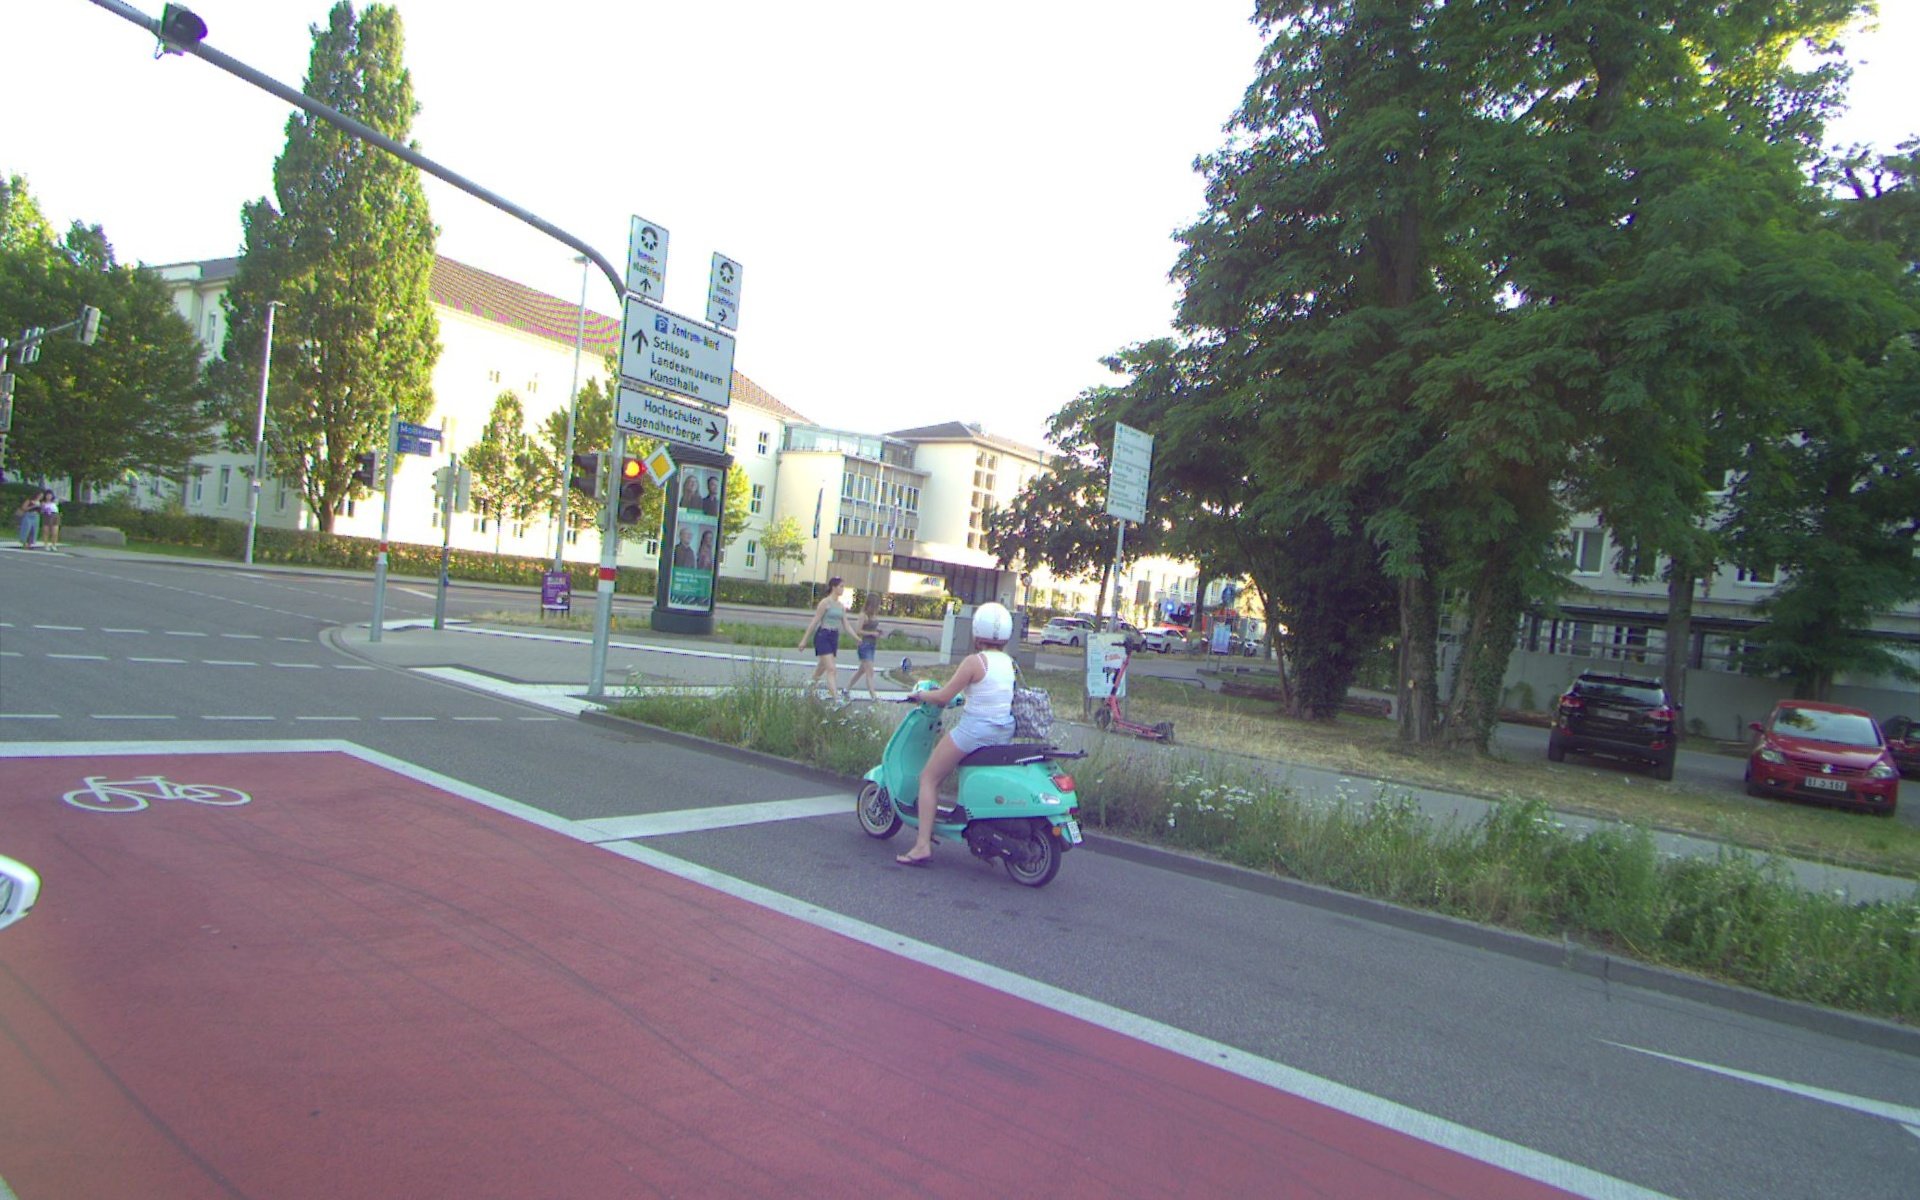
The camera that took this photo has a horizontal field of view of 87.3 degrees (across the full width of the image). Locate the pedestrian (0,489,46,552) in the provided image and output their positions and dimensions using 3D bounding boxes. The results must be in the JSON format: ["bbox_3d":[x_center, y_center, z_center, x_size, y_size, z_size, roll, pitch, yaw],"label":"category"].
[{"bbox_3d":[-26.568,-2.251,28.505,0.831,1.643,0.681,8,2,32],"label":"pedestrian"}]

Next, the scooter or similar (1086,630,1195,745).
[{"bbox_3d":[2.280,1.086,12.751,1.159,1.288,0.440,7,1,31],"label":"scooter or similar"}]

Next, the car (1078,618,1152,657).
[{"bbox_3d":[7.941,1.923,51.321,1.970,1.632,3.985,7,0,37],"label":"car"}]

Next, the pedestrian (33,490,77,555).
[{"bbox_3d":[-26.181,-2.241,29.102,0.677,1.776,0.681,8,2,31],"label":"pedestrian"}]

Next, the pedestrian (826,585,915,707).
[{"bbox_3d":[-1.222,0.626,13.765,0.776,1.542,0.735,7,1,31],"label":"pedestrian"}]

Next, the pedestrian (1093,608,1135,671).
[{"bbox_3d":[4.551,1.180,29.771,0.694,1.761,0.892,7,1,40],"label":"pedestrian"}]

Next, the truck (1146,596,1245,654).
[{"bbox_3d":[15.930,1.778,67.367,2.599,3.179,10.243,6,0,35],"label":"truck"}]

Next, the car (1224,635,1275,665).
[{"bbox_3d":[19.661,3.407,68.205,1.969,1.660,3.987,7,0,35],"label":"car"}]

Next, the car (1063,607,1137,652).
[{"bbox_3d":[7.738,1.650,55.277,2.024,1.884,4.486,7,-2,35],"label":"car"}]

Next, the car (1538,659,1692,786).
[{"bbox_3d":[11.773,2.092,17.953,1.890,1.762,4.223,7,0,37],"label":"car"}]

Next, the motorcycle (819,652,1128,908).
[{"bbox_3d":[0.035,1.067,6.496,1.866,1.212,0.681,7,0,40],"label":"motorcycle"}]

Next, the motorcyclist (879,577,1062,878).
[{"bbox_3d":[0.074,0.789,6.493,0.680,1.758,0.737,7,1,40],"label":"motorcyclist"}]

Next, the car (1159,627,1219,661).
[{"bbox_3d":[13.691,2.651,59.992,1.969,1.660,3.987,7,0,35],"label":"car"}]

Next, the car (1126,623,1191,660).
[{"bbox_3d":[10.931,2.311,55.232,1.969,1.660,3.987,7,0,35],"label":"car"}]

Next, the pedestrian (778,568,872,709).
[{"bbox_3d":[-1.723,0.493,12.871,0.763,1.681,0.720,7,1,31],"label":"pedestrian"}]

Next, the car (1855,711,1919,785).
[{"bbox_3d":[23.000,3.585,24.042,1.742,1.477,3.618,7,0,33],"label":"car"}]

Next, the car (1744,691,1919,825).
[{"bbox_3d":[14.054,2.422,16.375,1.890,1.631,3.984,7,0,38],"label":"car"}]

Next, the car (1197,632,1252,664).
[{"bbox_3d":[16.738,3.035,63.527,1.969,1.660,3.987,7,0,35],"label":"car"}]

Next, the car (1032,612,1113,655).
[{"bbox_3d":[5.373,1.606,47.675,1.872,1.660,3.983,7,0,38],"label":"car"}]
